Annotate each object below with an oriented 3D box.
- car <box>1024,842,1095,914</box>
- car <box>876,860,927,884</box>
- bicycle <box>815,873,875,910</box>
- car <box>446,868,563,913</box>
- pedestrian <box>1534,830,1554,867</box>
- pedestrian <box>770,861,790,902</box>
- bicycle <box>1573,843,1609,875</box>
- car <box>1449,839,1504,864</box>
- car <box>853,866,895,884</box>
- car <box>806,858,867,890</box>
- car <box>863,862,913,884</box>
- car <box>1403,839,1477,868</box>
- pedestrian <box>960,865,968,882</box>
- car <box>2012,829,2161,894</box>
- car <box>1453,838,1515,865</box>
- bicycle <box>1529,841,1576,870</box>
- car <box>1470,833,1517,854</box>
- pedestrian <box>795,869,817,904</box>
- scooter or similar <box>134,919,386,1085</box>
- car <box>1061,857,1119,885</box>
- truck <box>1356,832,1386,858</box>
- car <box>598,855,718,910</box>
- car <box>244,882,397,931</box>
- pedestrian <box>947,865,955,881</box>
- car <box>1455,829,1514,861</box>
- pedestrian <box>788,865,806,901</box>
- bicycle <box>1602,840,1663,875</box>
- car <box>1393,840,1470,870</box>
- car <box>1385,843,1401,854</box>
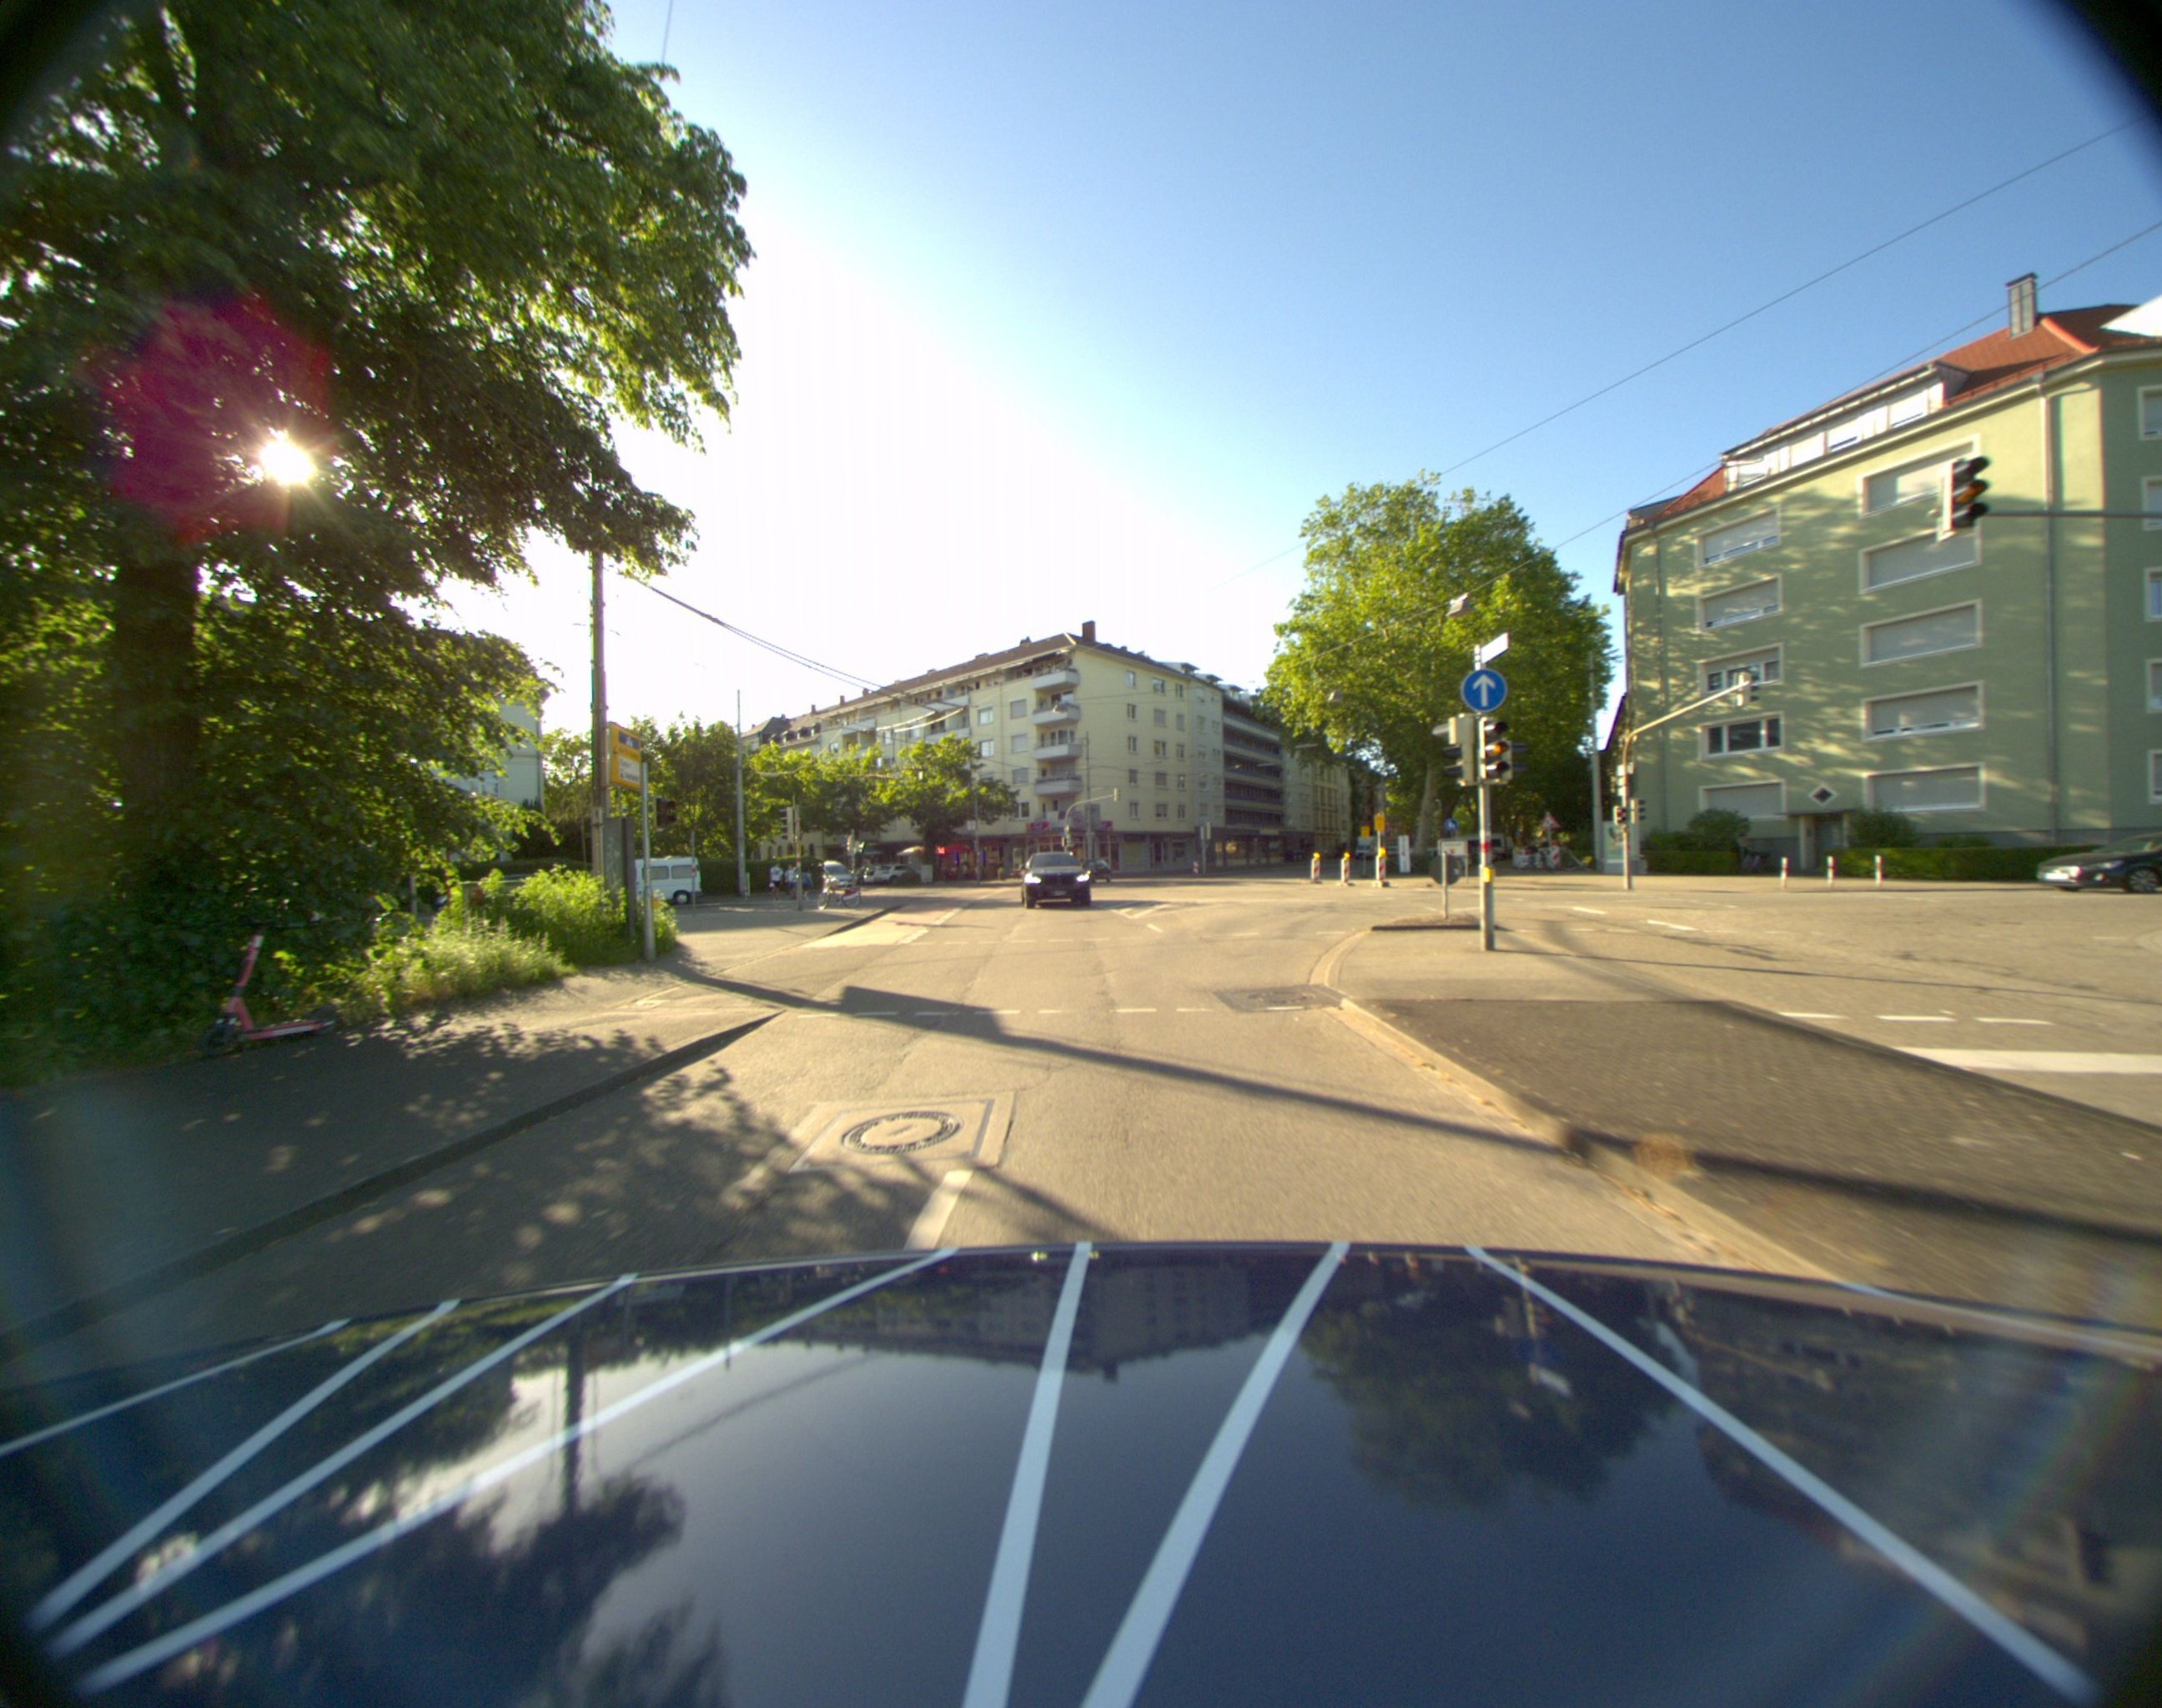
[{"bbox_3d":[-0.793,0.658,24.376,1.941,1.923,4.520,-4,2,-4],"label":"car"},{"bbox_3d":[-13.176,1.300,55.915,3.203,1.479,1.575,-6,3,-42],"label":"car"},{"bbox_3d":[-8.007,1.264,25.811,0.626,1.120,1.809,-2,1,45],"label":"bicycle"},{"bbox_3d":[-24.499,1.506,32.480,3.780,1.594,1.967,-4,2,-33],"label":"car"},{"bbox_3d":[25.413,-0.313,41.691,0.695,1.953,0.929,-2,4,42],"label":"pedestrian"},{"bbox_3d":[-14.659,1.321,37.001,0.595,1.920,0.852,-6,3,-33],"label":"pedestrian"},{"bbox_3d":[25.453,0.228,37.942,0.773,1.373,2.053,-1,4,13],"label":"bicycle"},{"bbox_3d":[34.541,-0.219,66.369,3.991,1.827,1.818,-3,3,34],"label":"car"},{"bbox_3d":[-16.180,1.629,59.454,2.801,1.076,1.323,-6,3,-42],"label":"car"},{"bbox_3d":[-15.815,1.307,49.123,4.208,1.796,1.860,-2,3,44],"label":"car"},{"bbox_3d":[-14.798,1.419,58.305,3.203,1.394,1.575,-6,3,-42],"label":"car"},{"bbox_3d":[23.486,-0.028,49.764,4.139,1.631,1.777,-3,3,34],"label":"car"},{"bbox_3d":[-9.070,1.484,59.038,0.384,1.269,0.494,-3,0,15],"label":"pedestrian"},{"bbox_3d":[26.059,0.131,18.344,4.200,1.485,1.944,-2,0,13],"label":"car"},{"bbox_3d":[31.268,-0.197,58.973,3.991,1.827,1.818,-3,3,34],"label":"car"},{"bbox_3d":[25.070,0.041,40.424,2.046,1.454,0.727,1,6,41],"label":"bicycle"},{"bbox_3d":[41.349,-1.082,76.195,3.991,1.827,1.818,-3,3,34],"label":"car"},{"bbox_3d":[-12.961,1.505,35.796,0.672,1.584,0.727,-6,3,-33],"label":"pedestrian"},{"bbox_3d":[-7.574,1.292,7.152,0.385,1.211,1.833,0,0,0],"label":"scooter or similar"},{"bbox_3d":[0.590,0.994,45.634,1.698,1.432,3.652,-3,0,33],"label":"car"},{"bbox_3d":[39.244,-1.312,102.691,2.338,2.956,8.043,-3,3,31],"label":"truck"},{"bbox_3d":[-19.367,1.252,34.859,4.563,2.164,1.947,-4,2,-33],"label":"car"},{"bbox_3d":[-29.324,1.977,29.485,3.780,1.458,1.967,-4,2,-33],"label":"car"},{"bbox_3d":[-10.536,1.529,61.614,0.384,1.269,0.494,-3,0,15],"label":"pedestrian"},{"bbox_3d":[36.377,-0.799,68.539,4.410,2.612,1.972,-3,3,33],"label":"car"},{"bbox_3d":[-13.888,1.409,37.191,0.555,1.727,0.627,-6,3,-33],"label":"pedestrian"},{"bbox_3d":[24.206,0.123,33.375,0.776,1.373,2.047,-4,5,-24],"label":"bicycle"},{"bbox_3d":[22.176,0.069,48.157,4.139,1.631,1.777,-3,3,34],"label":"car"},{"bbox_3d":[47.894,-0.914,116.581,1.698,1.433,3.651,-3,2,31],"label":"car"}]
